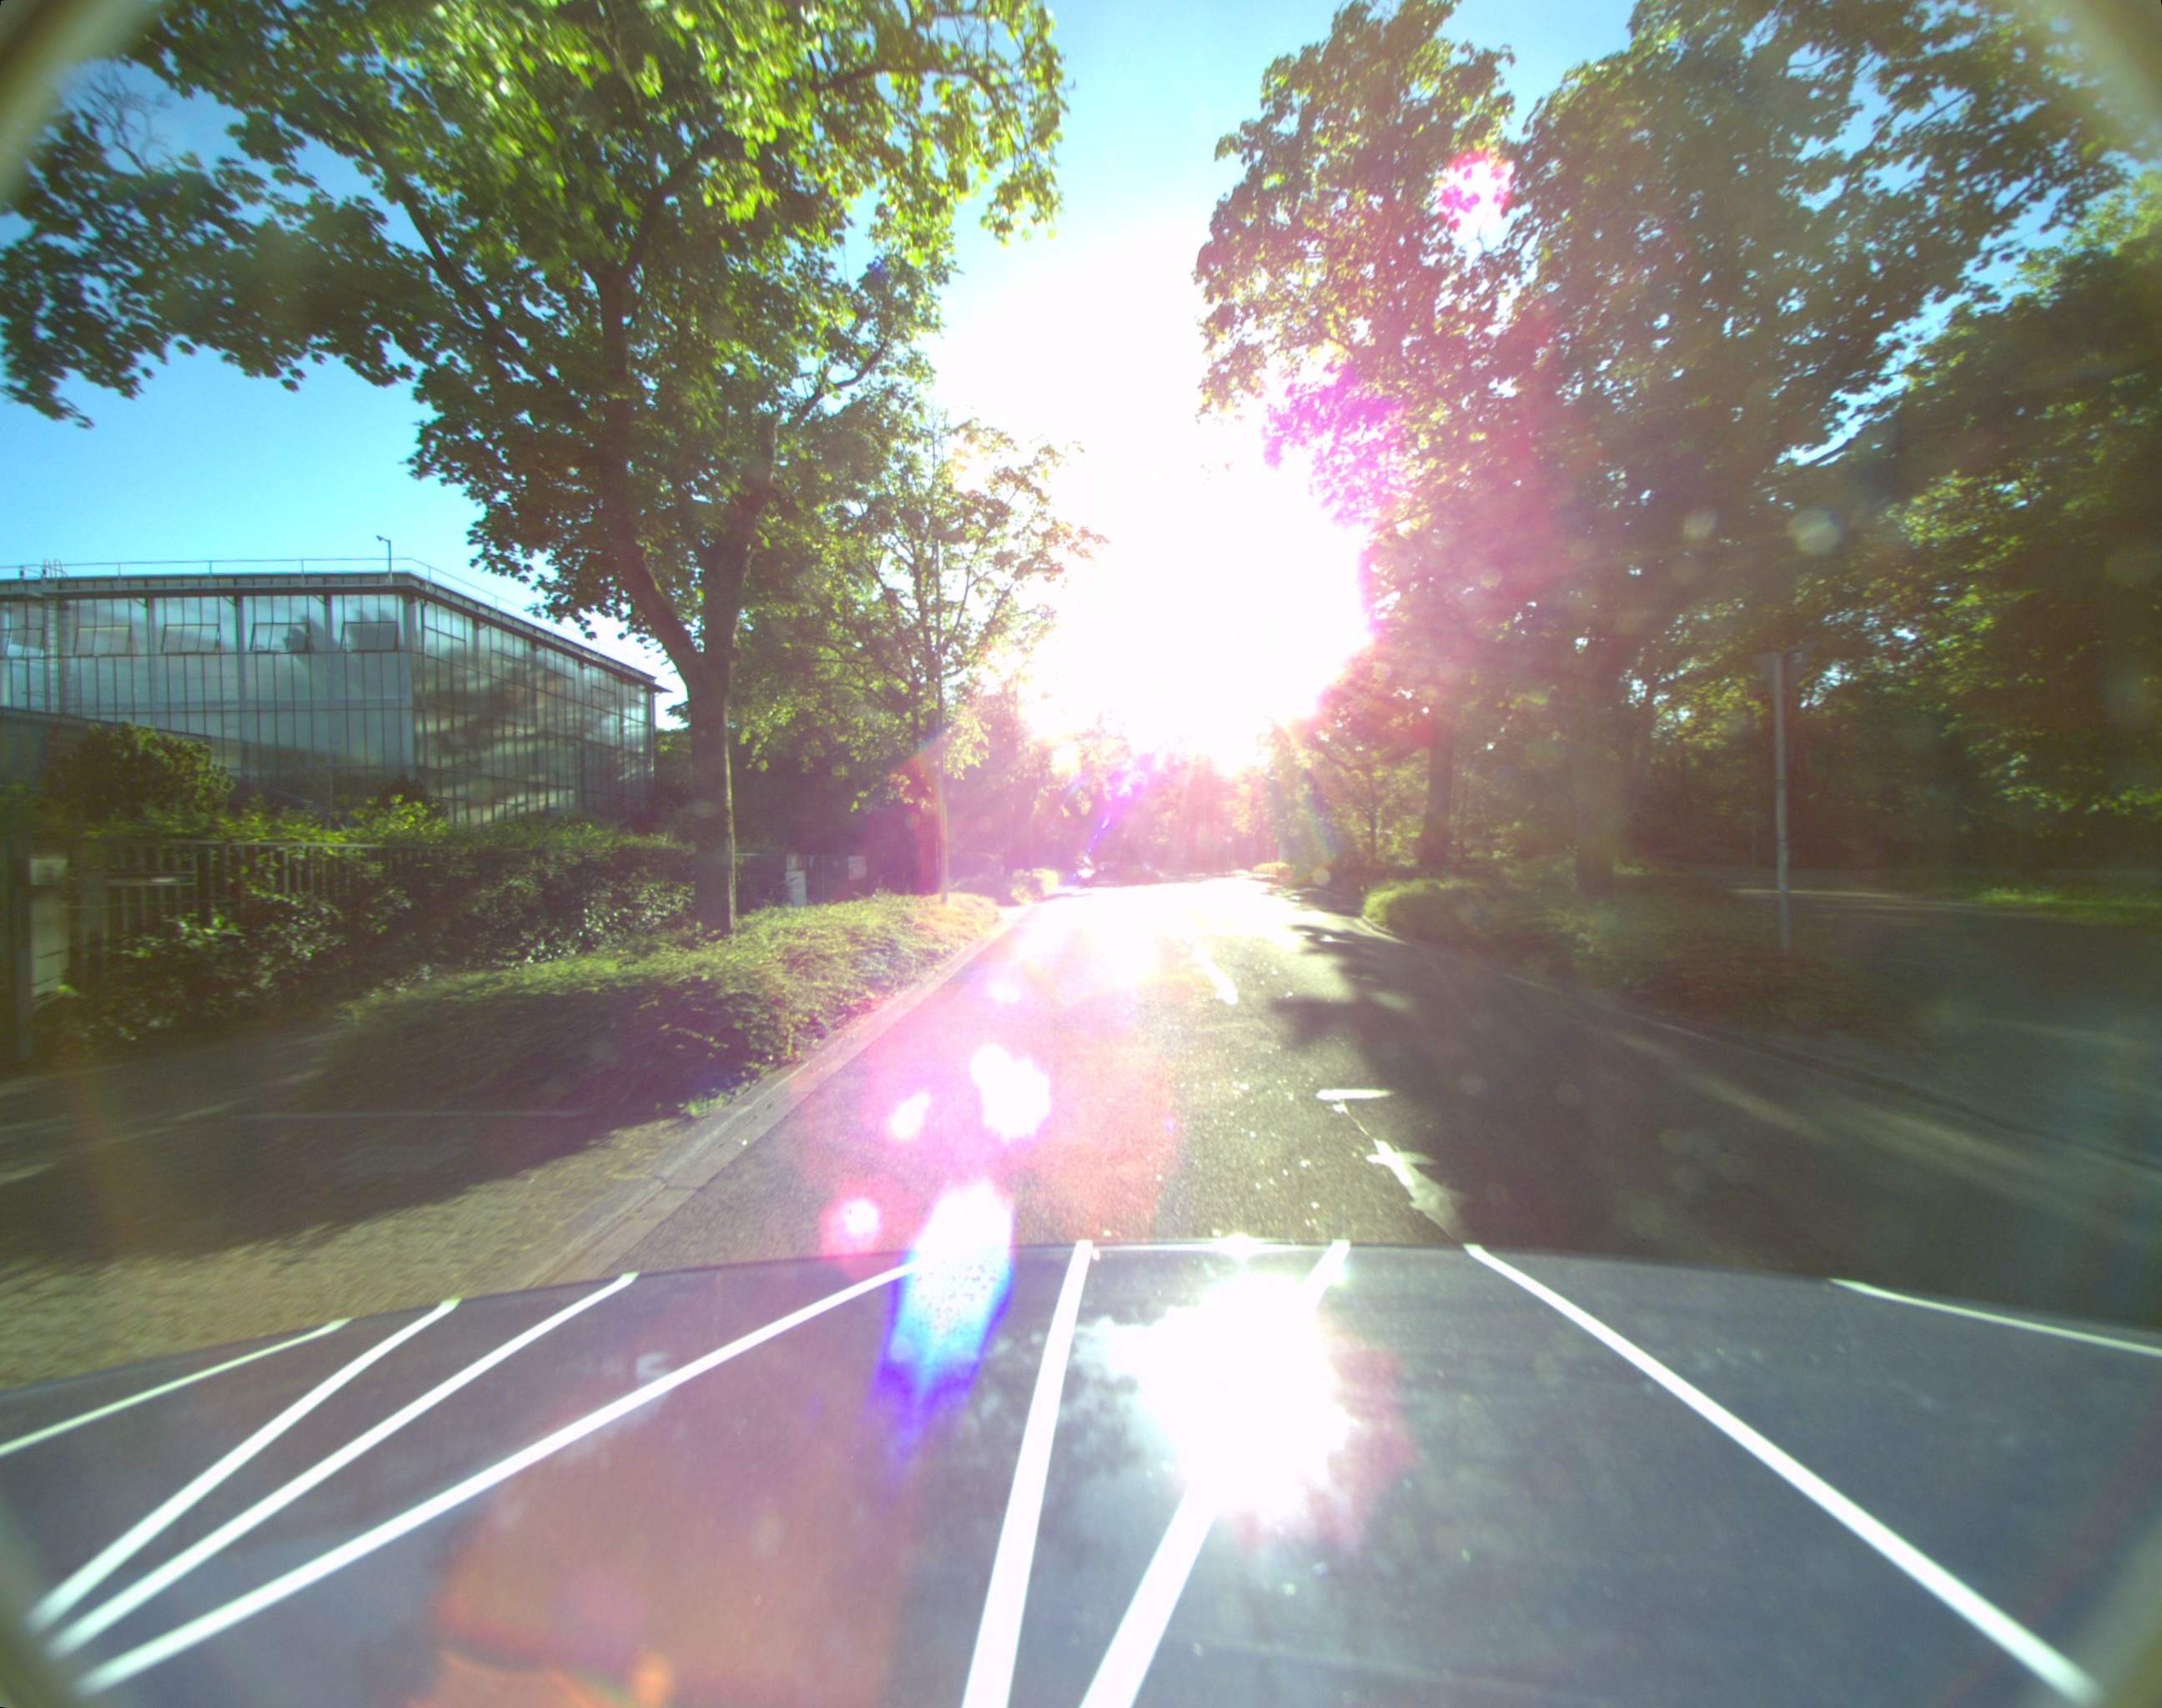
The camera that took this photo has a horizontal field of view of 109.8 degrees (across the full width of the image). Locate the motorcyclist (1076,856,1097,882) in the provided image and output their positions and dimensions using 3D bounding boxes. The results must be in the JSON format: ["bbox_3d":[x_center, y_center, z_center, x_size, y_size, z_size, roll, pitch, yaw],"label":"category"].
[{"bbox_3d":[0.351,0.867,45.018,1.138,1.419,1.567,-3,0,1],"label":"motorcyclist"}]

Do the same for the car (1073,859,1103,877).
[{"bbox_3d":[0.515,1.131,63.267,1.999,1.365,4.172,-2,0,-6],"label":"car"}]

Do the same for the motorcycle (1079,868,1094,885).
[{"bbox_3d":[0.342,1.320,45.168,0.807,0.907,2.713,-2,0,1],"label":"motorcycle"}]

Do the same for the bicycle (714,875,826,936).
[{"bbox_3d":[-6.885,1.099,16.982,0.884,1.193,2.330,0,0,25],"label":"bicycle"}]
